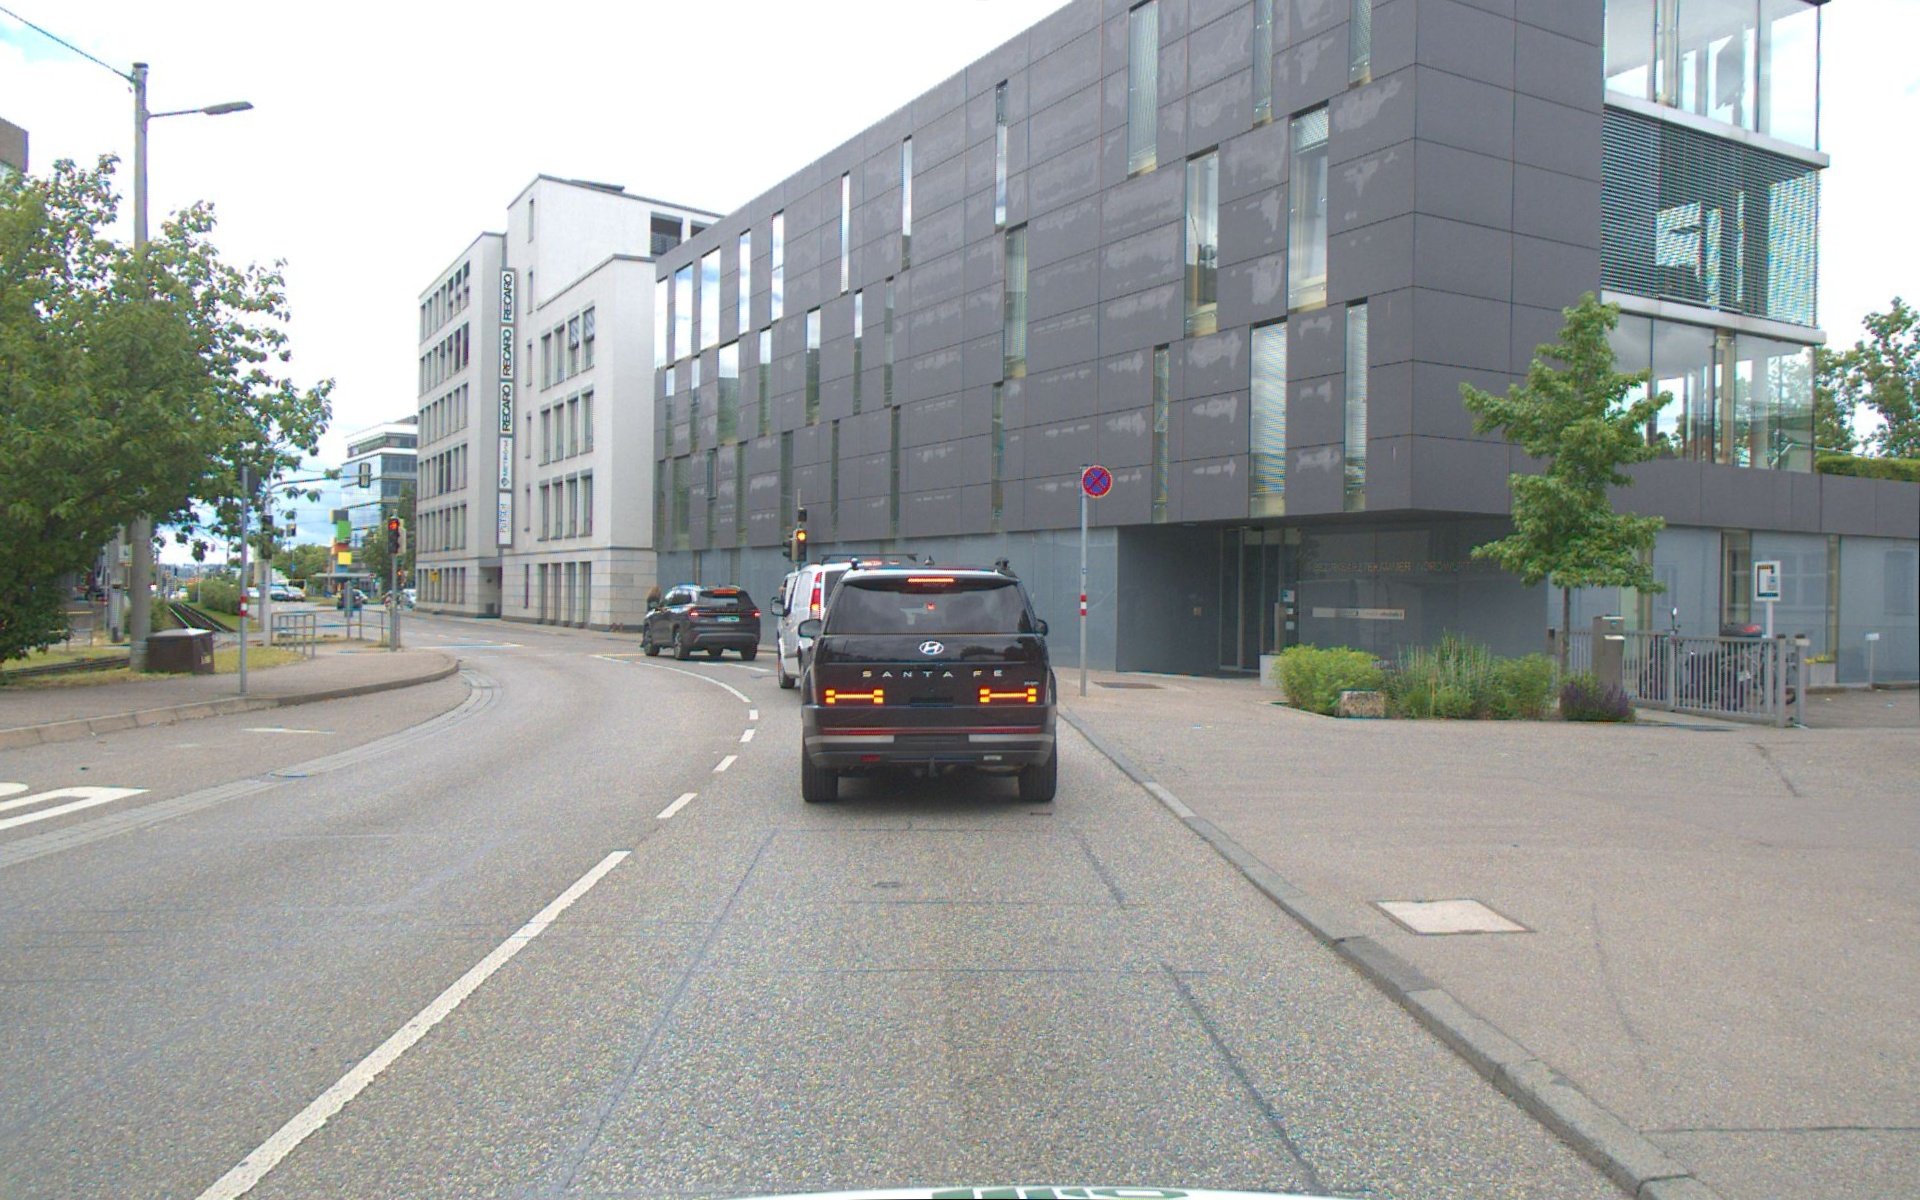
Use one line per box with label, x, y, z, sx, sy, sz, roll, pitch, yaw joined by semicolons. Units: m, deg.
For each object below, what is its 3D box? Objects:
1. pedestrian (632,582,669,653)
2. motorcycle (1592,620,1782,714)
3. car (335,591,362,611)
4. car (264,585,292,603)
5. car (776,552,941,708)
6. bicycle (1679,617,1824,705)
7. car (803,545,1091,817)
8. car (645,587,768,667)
pedestrian;-8.062;0.446;43.091;0.922;1.832;0.589;0;0;-14
motorcycle;10.763;0.959;24.625;0.836;1.282;2.670;0;0;-28
car;-47.807;0.074;129.393;1.871;1.512;3.977;0;0;-19
car;-66.947;-0.585;162.368;1.835;1.725;3.954;0;0;-33
car;-1.592;0.386;24.324;1.823;2.069;4.424;0;0;-12
bicycle;12.284;0.926;25.738;0.607;1.282;2.083;0;0;-28
car;-0.240;0.539;13.142;1.878;1.755;4.166;2;0;-5
car;-5.896;0.590;38.133;1.823;1.706;4.344;-1;0;-23
